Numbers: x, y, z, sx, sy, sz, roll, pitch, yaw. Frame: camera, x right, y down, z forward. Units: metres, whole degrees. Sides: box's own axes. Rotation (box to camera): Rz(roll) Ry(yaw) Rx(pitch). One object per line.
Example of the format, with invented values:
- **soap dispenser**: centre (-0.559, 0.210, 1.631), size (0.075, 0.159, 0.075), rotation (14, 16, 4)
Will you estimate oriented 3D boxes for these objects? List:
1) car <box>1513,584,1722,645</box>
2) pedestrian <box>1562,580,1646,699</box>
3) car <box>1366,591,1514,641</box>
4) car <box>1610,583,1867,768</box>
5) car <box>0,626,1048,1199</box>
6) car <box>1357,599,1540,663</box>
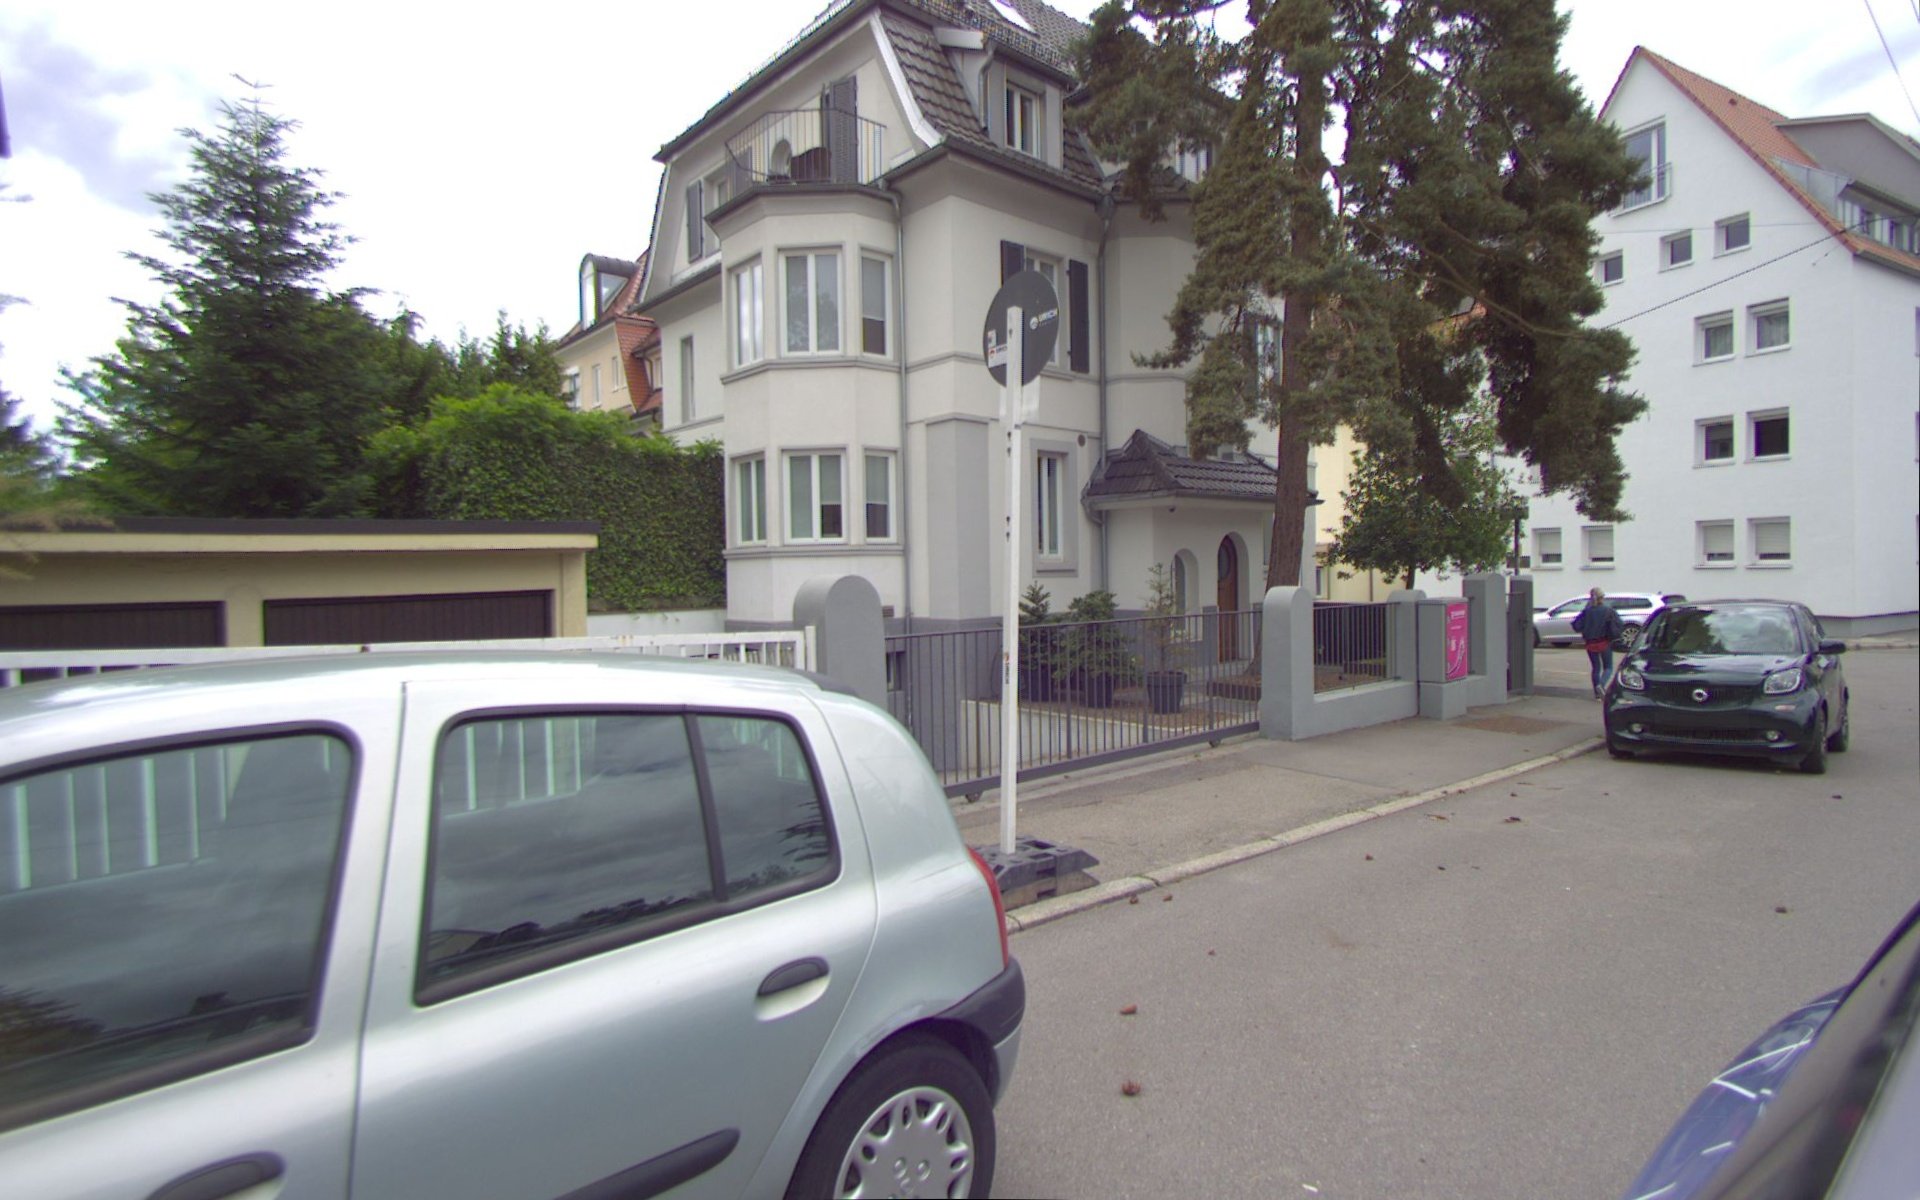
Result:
- **car**: centre (17.378, 0.368, 26.980), size (1.728, 1.468, 4.364), rotation (-1, 0, -28)
- **pedestrian**: centre (9.198, 0.538, 14.456), size (0.889, 1.596, 0.683), rotation (-2, 3, -35)
- **car**: centre (14.984, 0.513, 31.833), size (1.702, 1.440, 4.006), rotation (-1, -1, -25)
- **car**: centre (7.763, 0.662, 10.031), size (2.820, 1.552, 1.572), rotation (0, -3, -44)
- **car**: centre (-1.662, 0.788, 1.781), size (3.591, 1.418, 1.576), rotation (0, -2, -41)
- **car**: centre (11.336, 0.696, 23.670), size (1.638, 1.277, 3.483), rotation (-4, 1, -30)
